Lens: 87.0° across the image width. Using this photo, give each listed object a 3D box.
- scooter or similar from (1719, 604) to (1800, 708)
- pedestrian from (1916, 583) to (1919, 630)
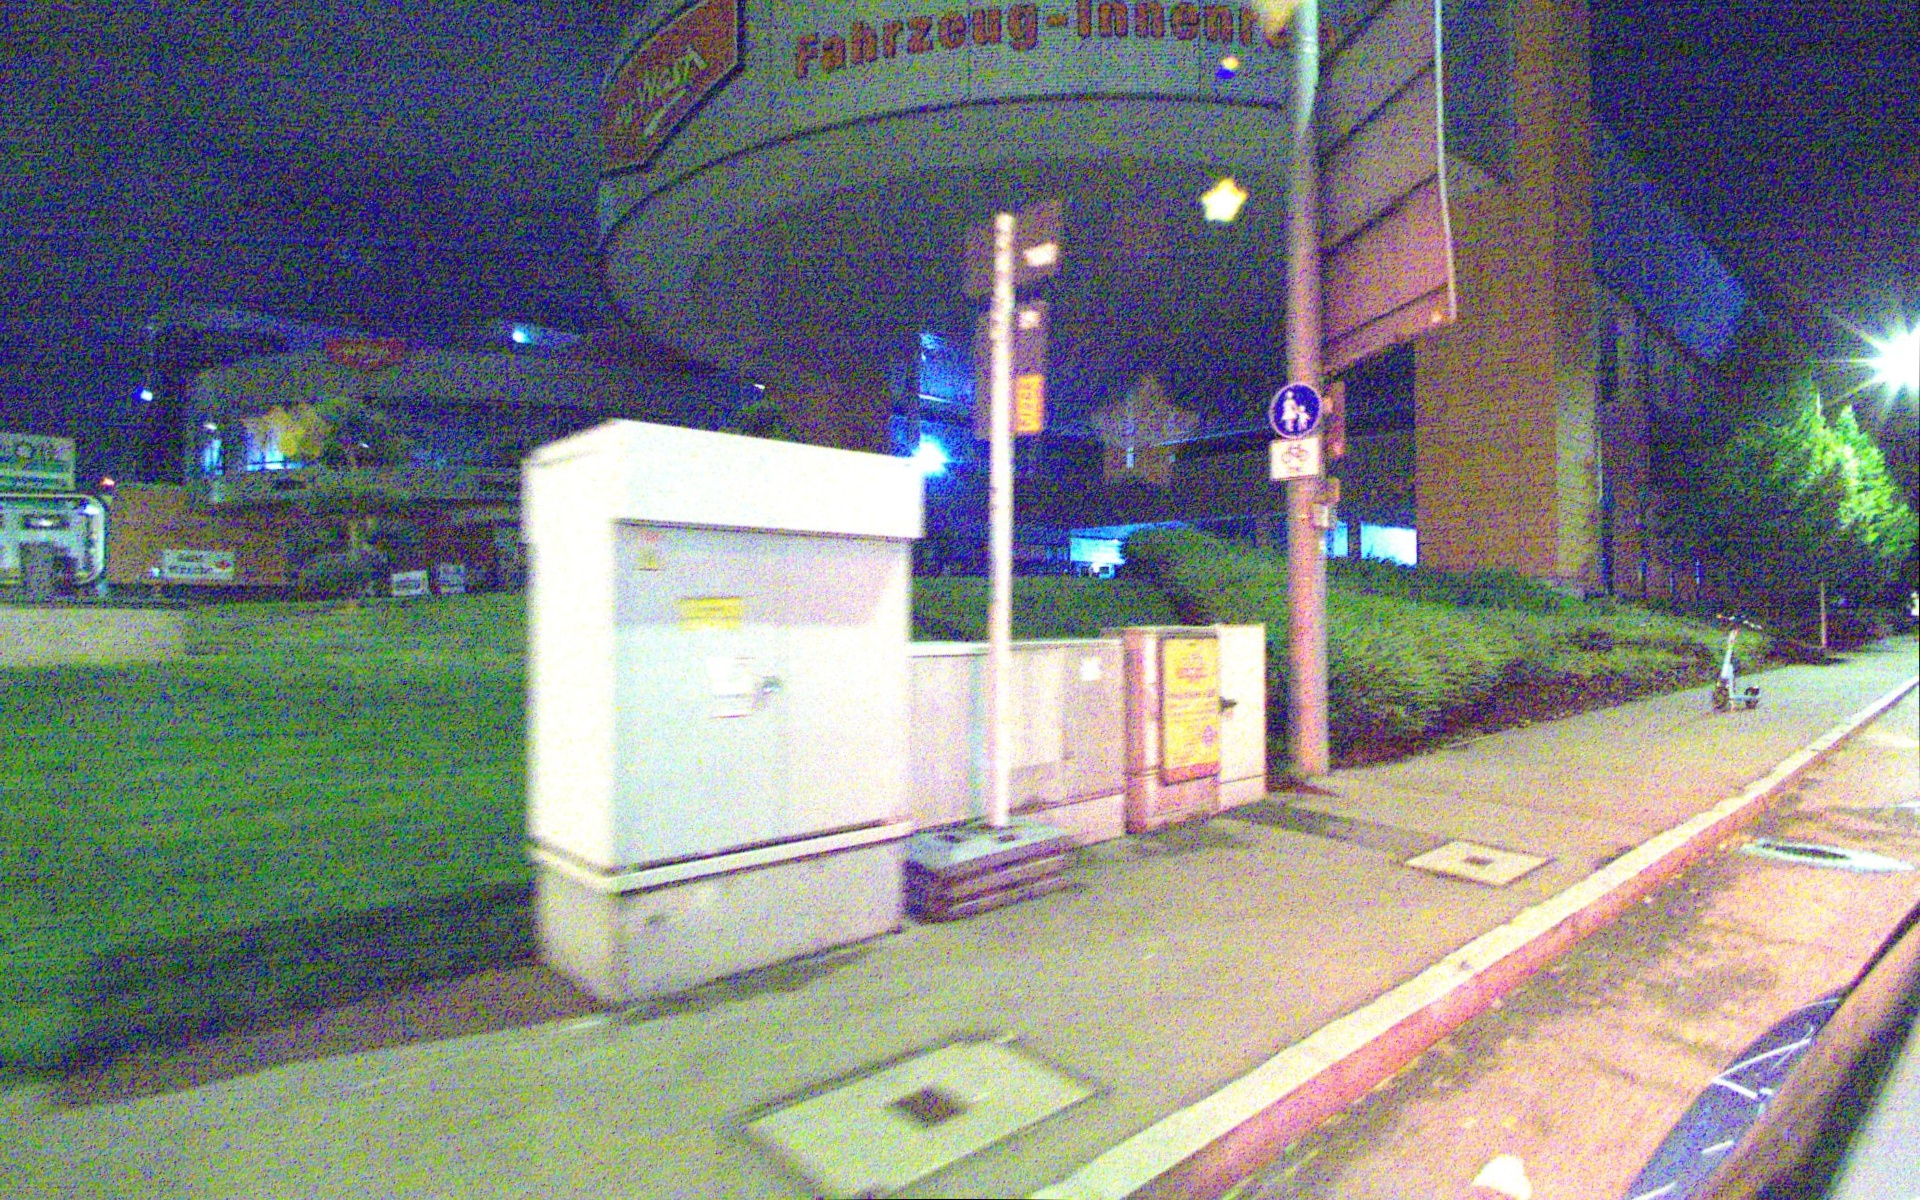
[{"bbox_3d":[10.637,0.710,13.447,1.367,1.295,0.569,1,1,-41],"label":"scooter or similar"},{"bbox_3d":[38.159,0.268,39.745,0.597,1.843,0.824,-1,0,-40],"label":"pedestrian"}]
